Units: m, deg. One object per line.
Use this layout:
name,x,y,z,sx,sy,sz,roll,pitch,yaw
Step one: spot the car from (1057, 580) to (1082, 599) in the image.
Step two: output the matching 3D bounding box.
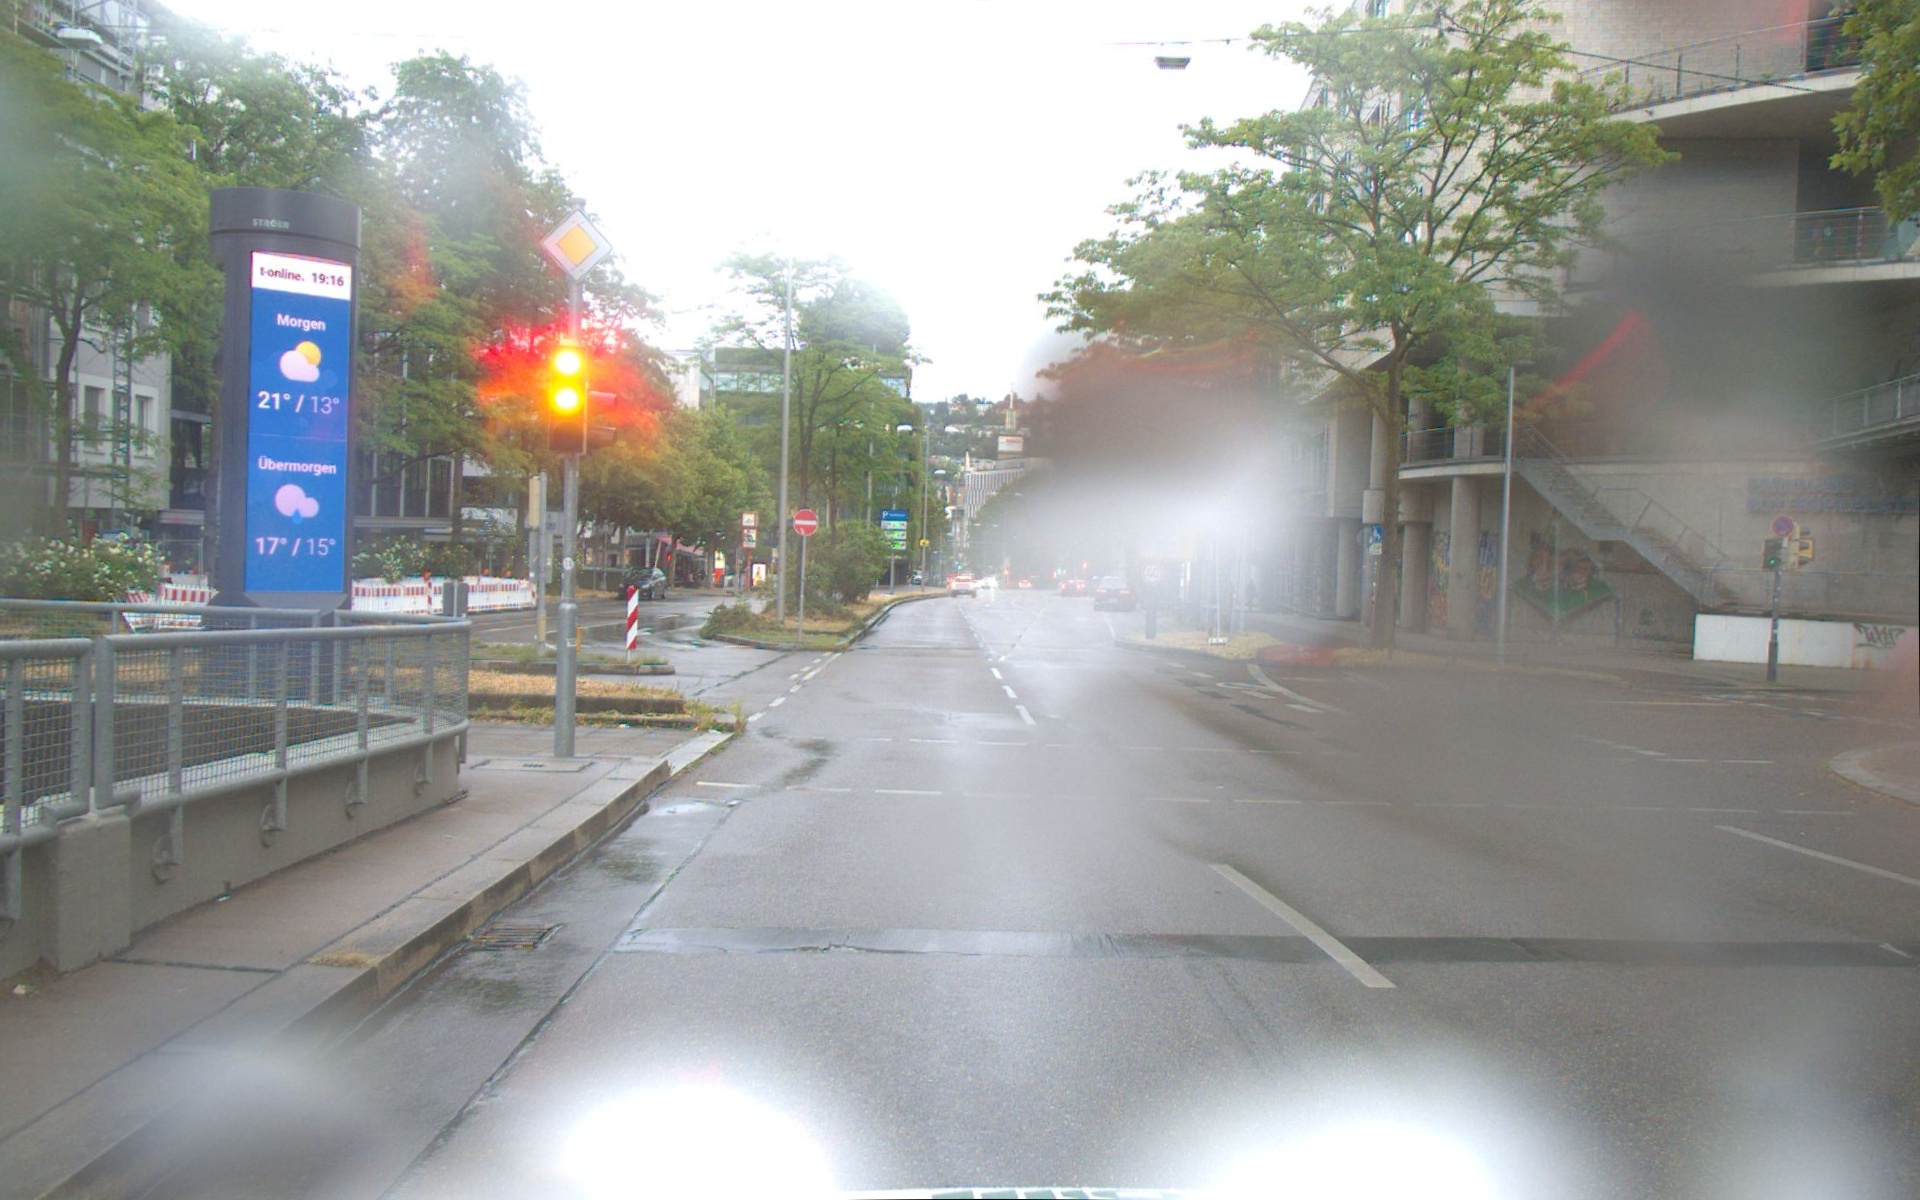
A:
car,10.324,-0.975,155.777,1.953,1.754,3.999,1,0,-2

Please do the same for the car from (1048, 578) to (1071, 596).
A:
car,10.037,-1.314,166.972,1.953,1.766,3.999,1,0,-1

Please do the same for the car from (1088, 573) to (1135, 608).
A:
car,7.671,-0.486,83.546,2.288,1.720,4.003,1,1,6

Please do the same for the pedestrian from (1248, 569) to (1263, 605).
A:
pedestrian,15.989,-0.693,89.457,0.759,1.954,0.703,1,-1,9

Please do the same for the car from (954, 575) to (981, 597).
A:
car,0.615,-1.081,129.299,1.790,1.668,4.302,2,0,3

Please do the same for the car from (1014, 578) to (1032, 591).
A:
car,9.152,-2.187,239.266,1.955,1.789,3.995,2,0,-6
